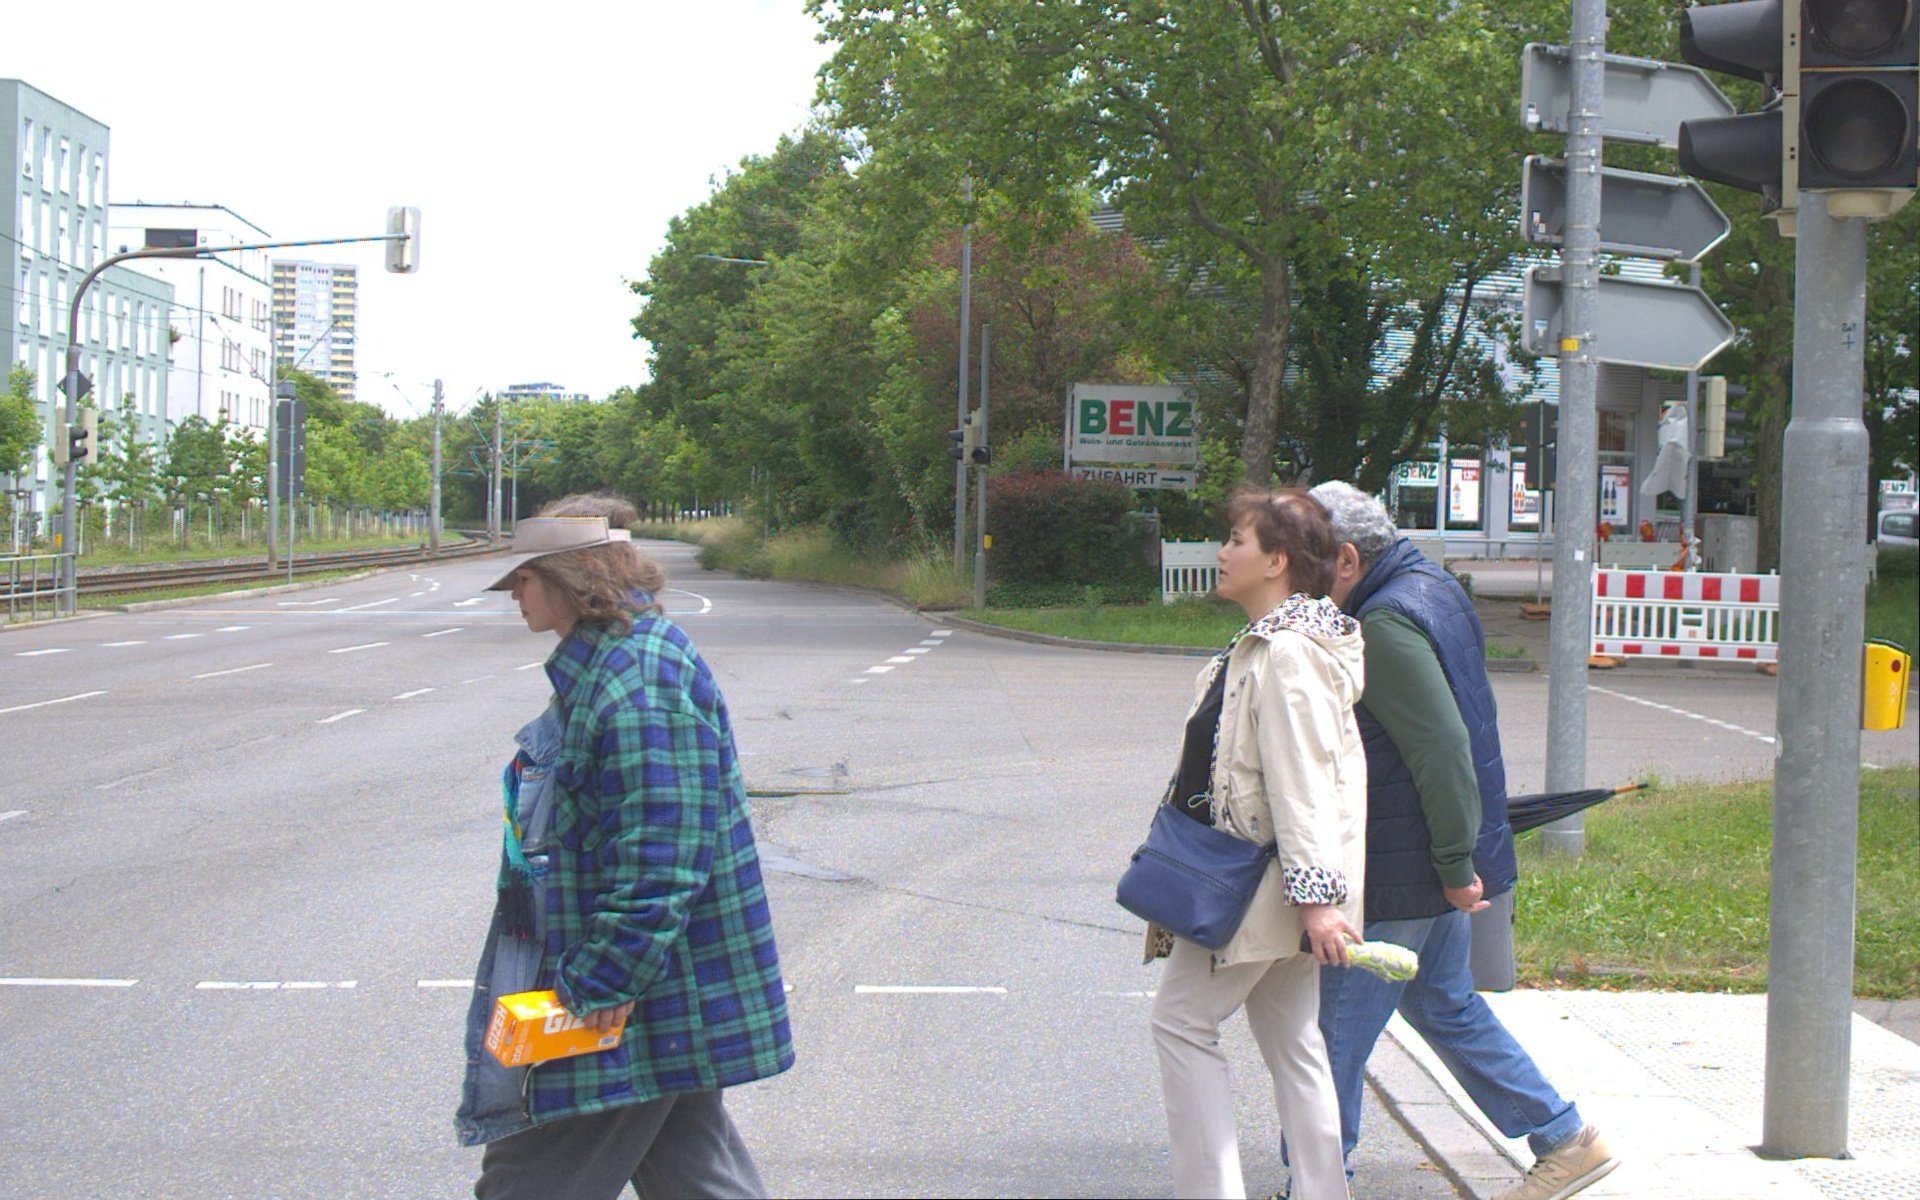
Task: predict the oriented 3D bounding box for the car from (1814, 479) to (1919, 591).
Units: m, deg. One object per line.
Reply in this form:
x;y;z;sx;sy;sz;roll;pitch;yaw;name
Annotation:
17.745;-1.185;62.567;1.993;2.007;4.000;0;2;-32;car

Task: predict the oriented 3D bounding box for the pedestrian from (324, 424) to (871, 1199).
-0.608;0.560;5.625;0.822;1.665;0.733;0;1;-9;pedestrian

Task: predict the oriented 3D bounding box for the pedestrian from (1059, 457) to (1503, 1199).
0.634;0.540;6.911;0.822;1.634;0.733;1;1;4;pedestrian

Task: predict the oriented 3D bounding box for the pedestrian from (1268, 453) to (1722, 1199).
1.099;0.516;7.244;0.868;1.629;0.765;1;1;5;pedestrian
